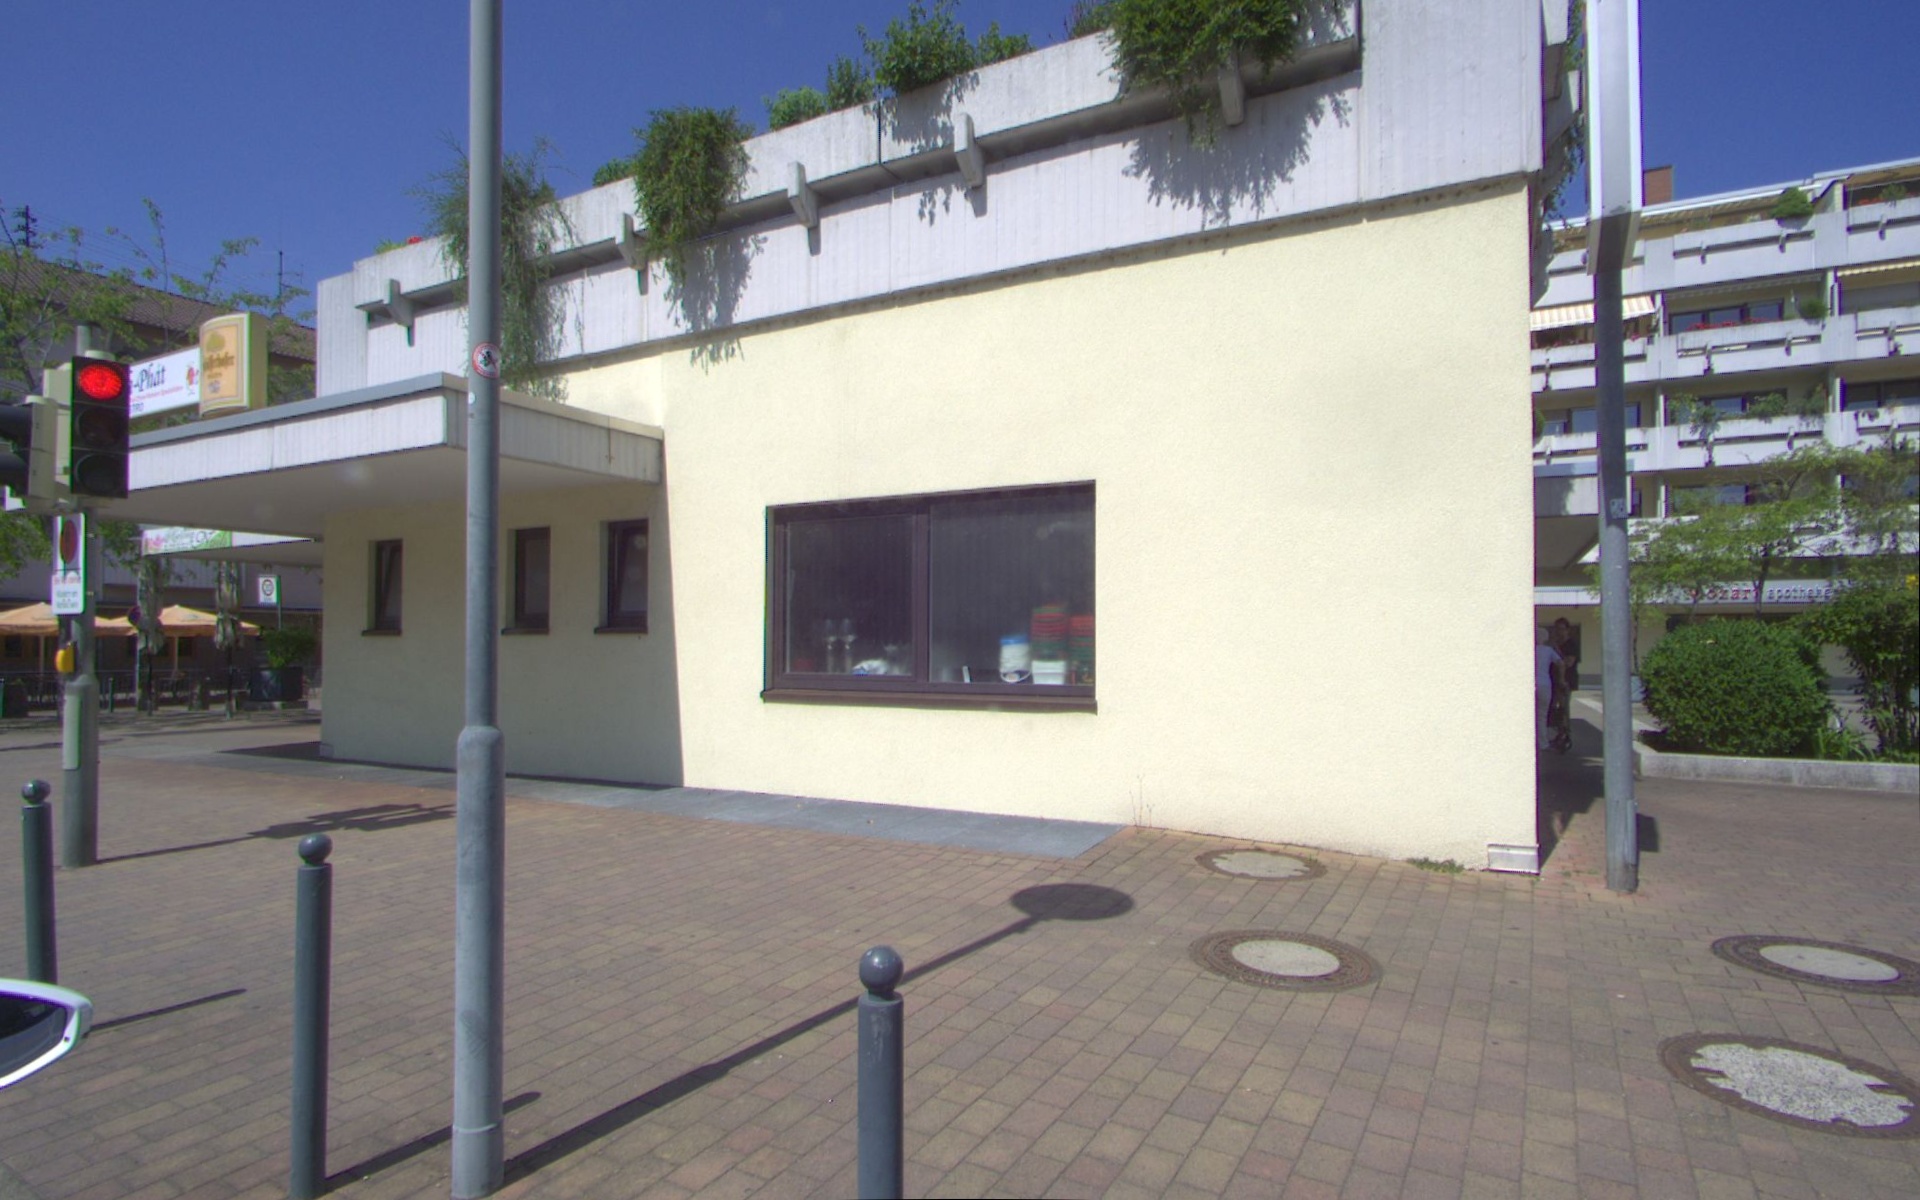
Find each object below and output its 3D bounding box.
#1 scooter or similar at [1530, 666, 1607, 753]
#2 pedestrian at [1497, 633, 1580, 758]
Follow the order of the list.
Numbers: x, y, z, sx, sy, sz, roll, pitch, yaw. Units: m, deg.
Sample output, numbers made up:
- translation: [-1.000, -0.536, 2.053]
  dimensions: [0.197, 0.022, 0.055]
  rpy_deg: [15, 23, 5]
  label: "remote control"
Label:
- translation: [8.000, 1.415, 13.166]
  dimensions: [0.795, 1.088, 0.587]
  rpy_deg: [2, -2, -35]
  label: "scooter or similar"
- translation: [7.342, 1.187, 12.715]
  dimensions: [0.801, 1.516, 0.615]
  rpy_deg: [1, -2, -35]
  label: "pedestrian"
